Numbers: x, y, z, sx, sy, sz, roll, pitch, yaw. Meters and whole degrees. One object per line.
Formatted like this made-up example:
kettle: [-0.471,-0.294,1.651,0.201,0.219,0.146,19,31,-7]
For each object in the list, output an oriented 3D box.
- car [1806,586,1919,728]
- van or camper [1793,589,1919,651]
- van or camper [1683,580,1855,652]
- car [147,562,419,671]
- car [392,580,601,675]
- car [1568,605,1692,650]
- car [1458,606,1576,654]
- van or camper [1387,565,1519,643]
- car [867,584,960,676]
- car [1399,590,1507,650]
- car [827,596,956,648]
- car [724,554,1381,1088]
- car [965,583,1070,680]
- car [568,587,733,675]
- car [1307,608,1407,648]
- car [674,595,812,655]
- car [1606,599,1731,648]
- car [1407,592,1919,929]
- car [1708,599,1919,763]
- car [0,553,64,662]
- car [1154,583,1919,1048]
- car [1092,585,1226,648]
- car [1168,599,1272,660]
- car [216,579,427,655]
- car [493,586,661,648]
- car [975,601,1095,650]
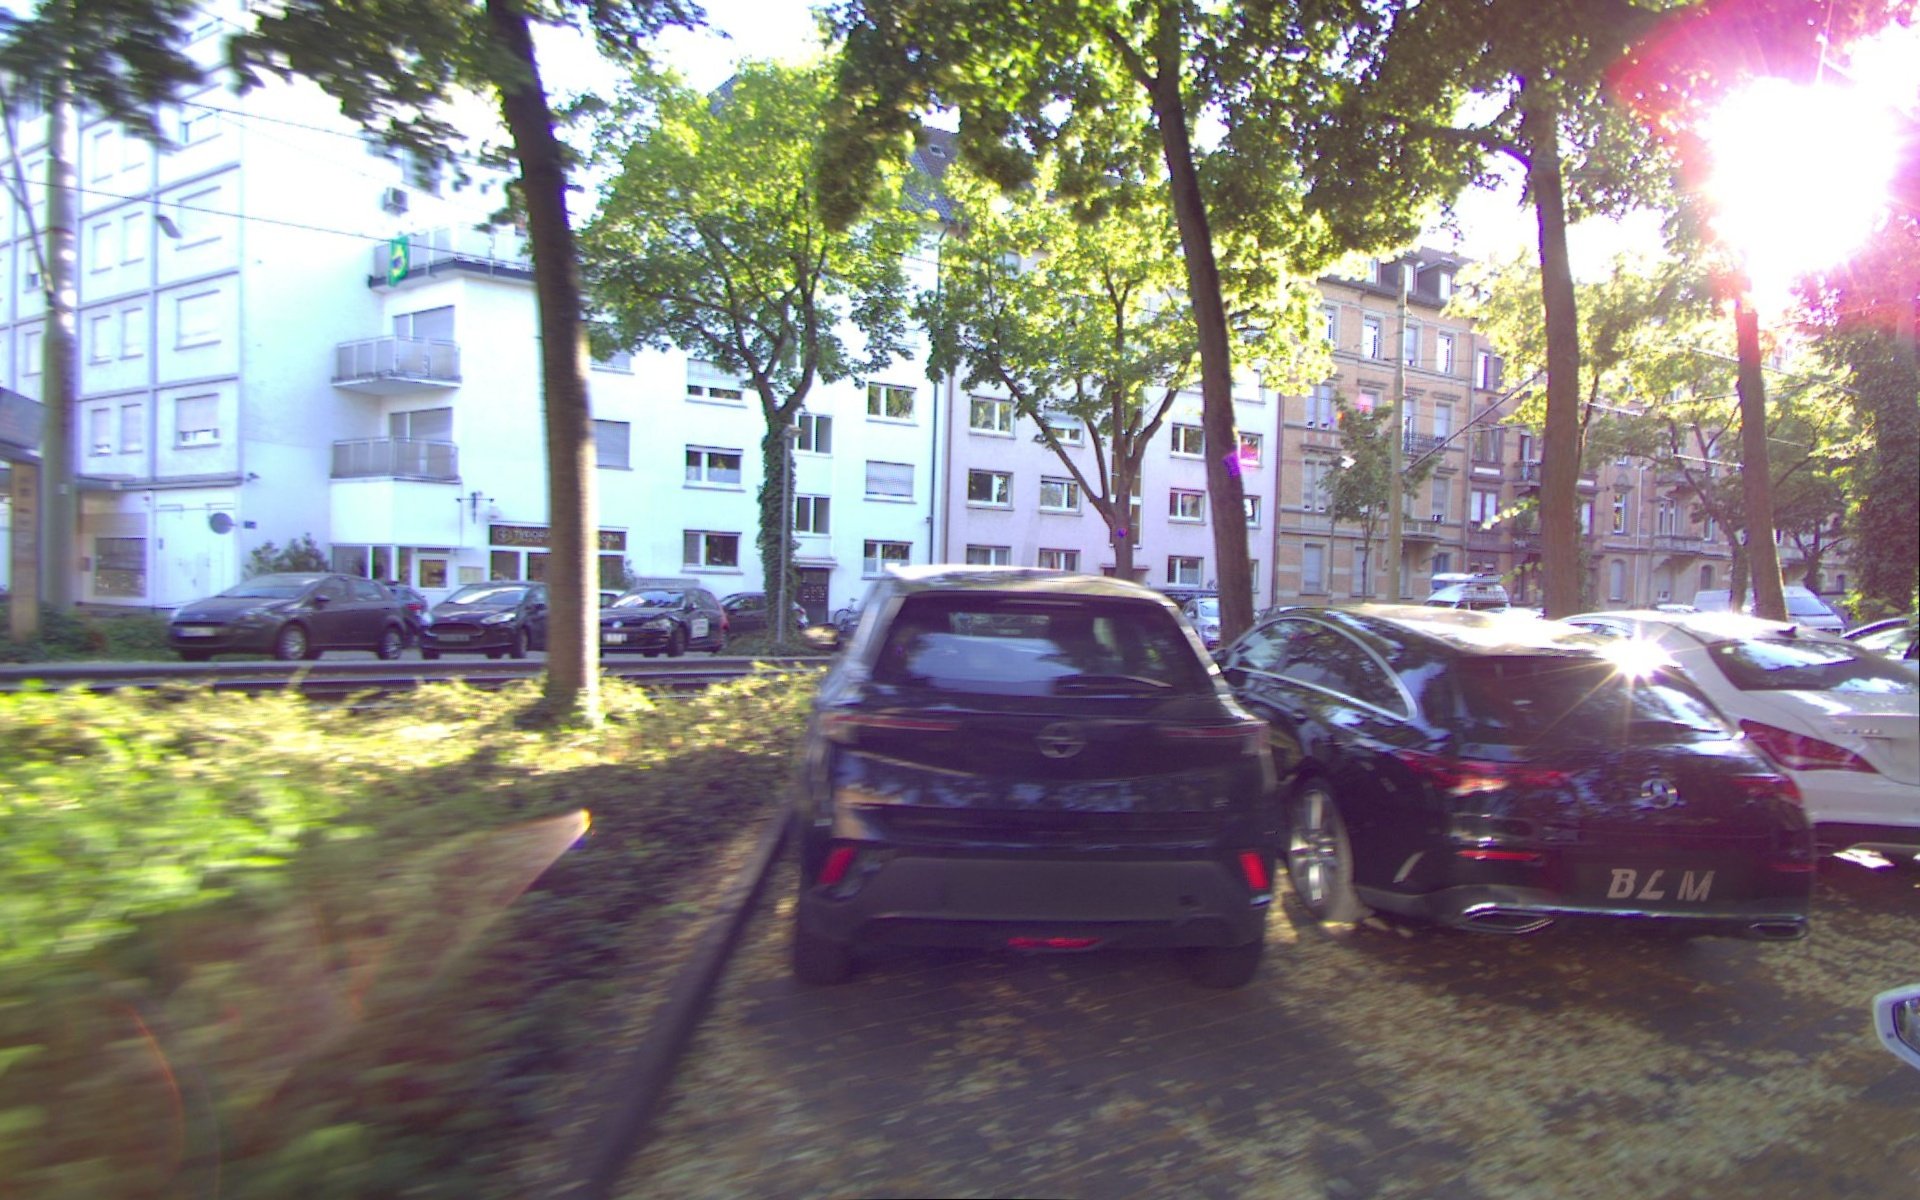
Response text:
car: [12.733,0.795,11.897,1.821,1.685,4.038,3,3,-2]
van or camper: [38.039,0.840,41.826,2.261,2.402,5.554,1,-1,3]
van or camper: [30.420,0.585,38.067,1.960,2.501,5.678,1,-1,0]
car: [-10.838,0.295,16.481,1.555,1.539,4.002,1,-2,3]
car: [-8.140,0.428,18.068,1.817,1.464,3.883,1,0,2]
car: [23.047,0.999,34.756,1.868,1.403,4.328,1,-3,8]
car: [17.590,0.919,31.948,1.767,1.400,4.002,1,-1,4]
van or camper: [20.873,0.201,42.509,5.442,3.151,2.067,1,1,-26]
car: [-0.942,0.628,22.588,1.777,1.842,4.321,1,-1,1]
car: [14.787,0.591,30.346,1.703,1.669,4.002,1,-1,7]
car: [-2.092,0.638,30.612,3.462,1.423,1.844,0,3,-26]
car: [0.132,0.581,4.968,1.923,1.533,3.996,1,3,-5]
car: [1.481,0.710,23.871,1.959,2.040,4.822,1,-1,9]
car: [-5.799,0.524,19.320,1.817,1.464,3.883,1,0,2]
car: [15.942,1.096,40.363,3.462,1.423,1.844,0,3,-26]
car: [-6.147,0.669,28.396,3.462,1.512,1.844,0,3,-26]
car: [24.997,0.813,35.651,1.868,1.603,4.327,1,-1,8]
car: [5.034,0.777,7.031,1.820,1.423,4.465,2,3,1]
car: [10.287,0.869,10.444,1.820,1.460,4.243,3,3,1]
car: [-15.539,0.058,14.178,1.850,1.643,4.153,1,-2,4]
car: [2.440,0.711,5.560,1.710,1.423,4.311,2,3,-2]
car: [6.970,0.564,35.200,4.359,2.021,1.844,0,3,-27]
car: [6.840,0.727,26.844,1.737,1.446,4.000,1,0,0]
car: [-14.841,0.368,23.633,3.976,1.600,1.844,0,3,-26]
car: [-9.992,0.408,26.210,3.976,1.423,1.844,0,3,-26]
car: [2.466,0.795,32.978,3.462,1.423,1.844,0,3,-26]
